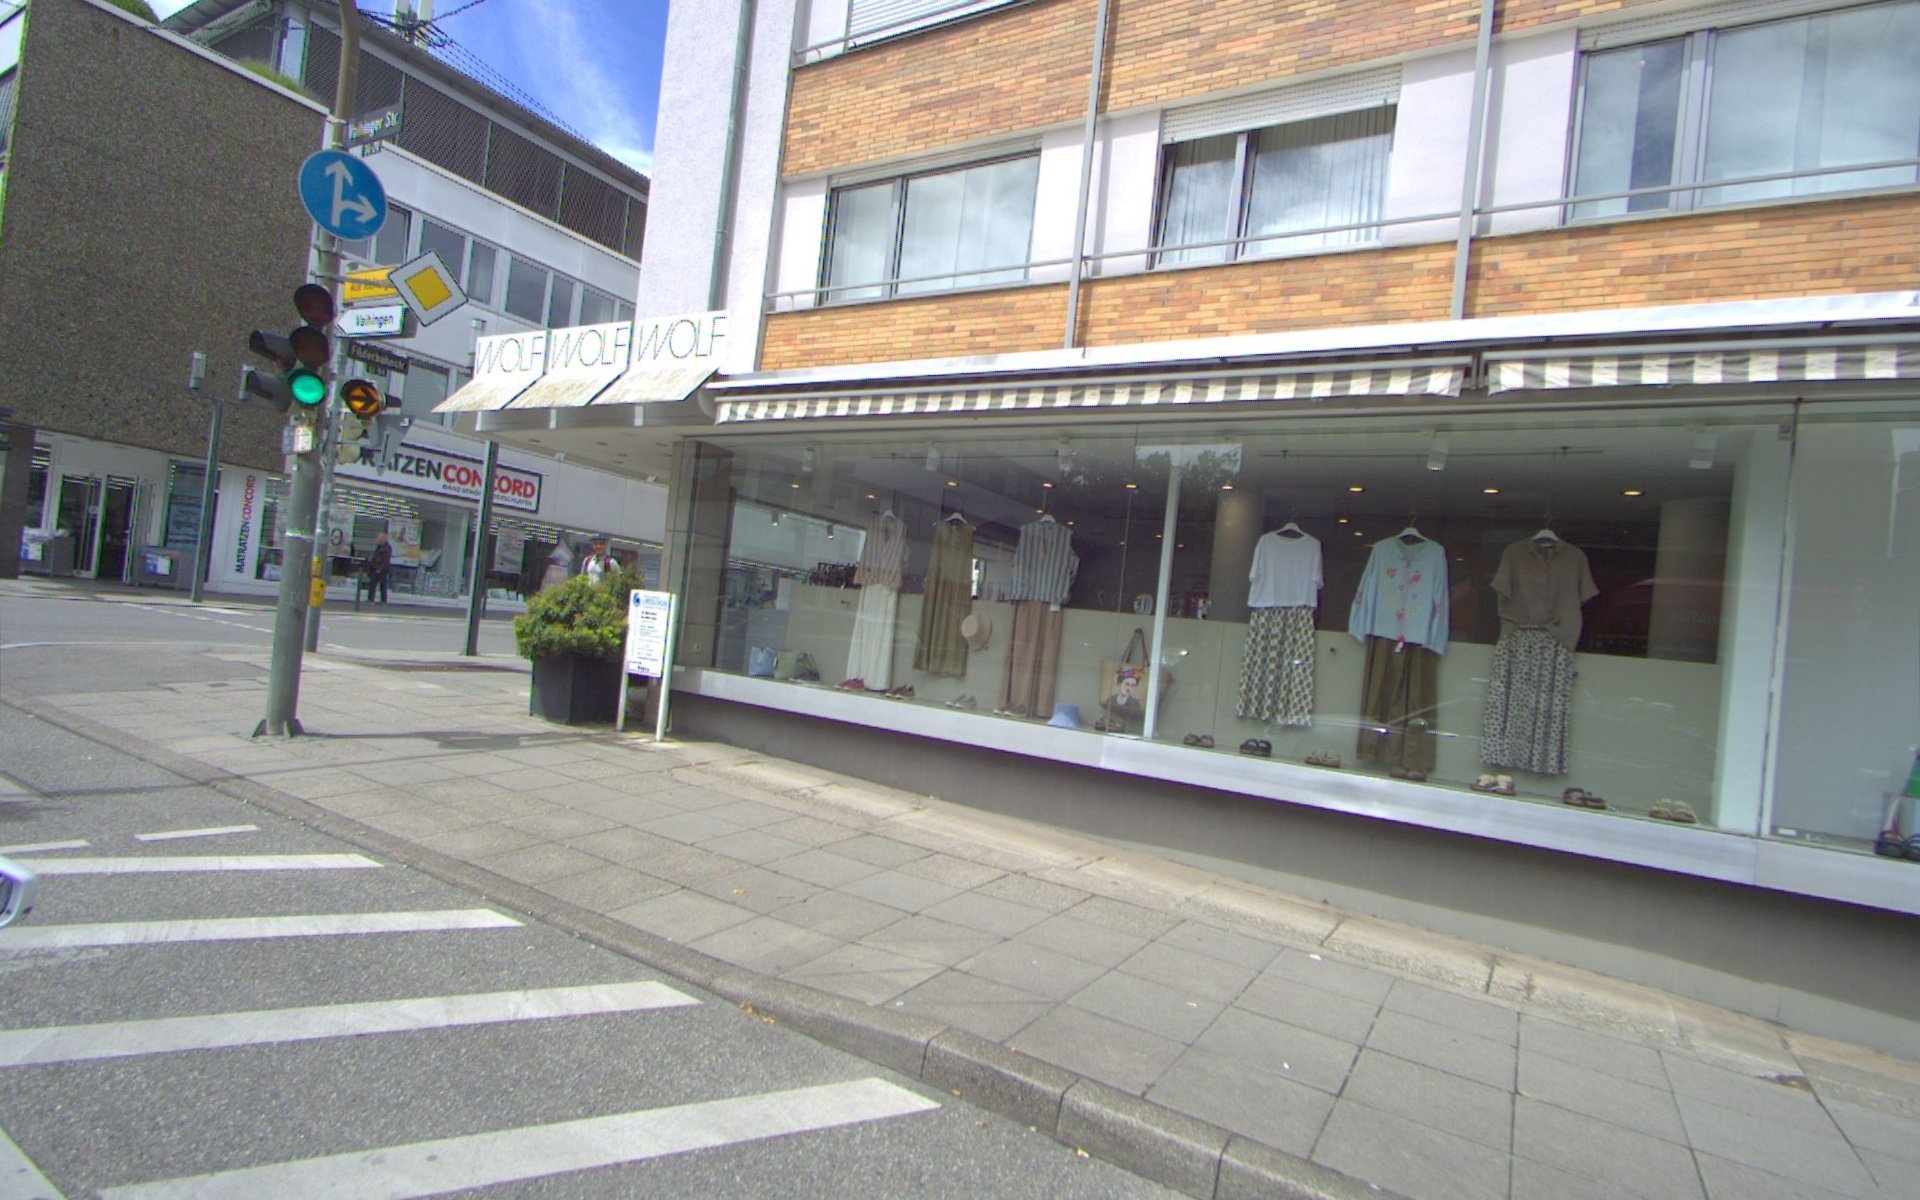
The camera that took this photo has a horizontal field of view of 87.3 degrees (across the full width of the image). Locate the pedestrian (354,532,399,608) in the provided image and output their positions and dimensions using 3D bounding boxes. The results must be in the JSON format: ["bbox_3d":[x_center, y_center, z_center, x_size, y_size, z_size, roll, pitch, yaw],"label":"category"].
[{"bbox_3d":[-13.888,-0.700,23.966,0.608,1.728,0.580,5,2,0],"label":"pedestrian"}]

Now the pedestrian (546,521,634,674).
[{"bbox_3d":[-4.695,-0.037,12.798,0.762,1.839,0.612,5,3,0],"label":"pedestrian"}]
